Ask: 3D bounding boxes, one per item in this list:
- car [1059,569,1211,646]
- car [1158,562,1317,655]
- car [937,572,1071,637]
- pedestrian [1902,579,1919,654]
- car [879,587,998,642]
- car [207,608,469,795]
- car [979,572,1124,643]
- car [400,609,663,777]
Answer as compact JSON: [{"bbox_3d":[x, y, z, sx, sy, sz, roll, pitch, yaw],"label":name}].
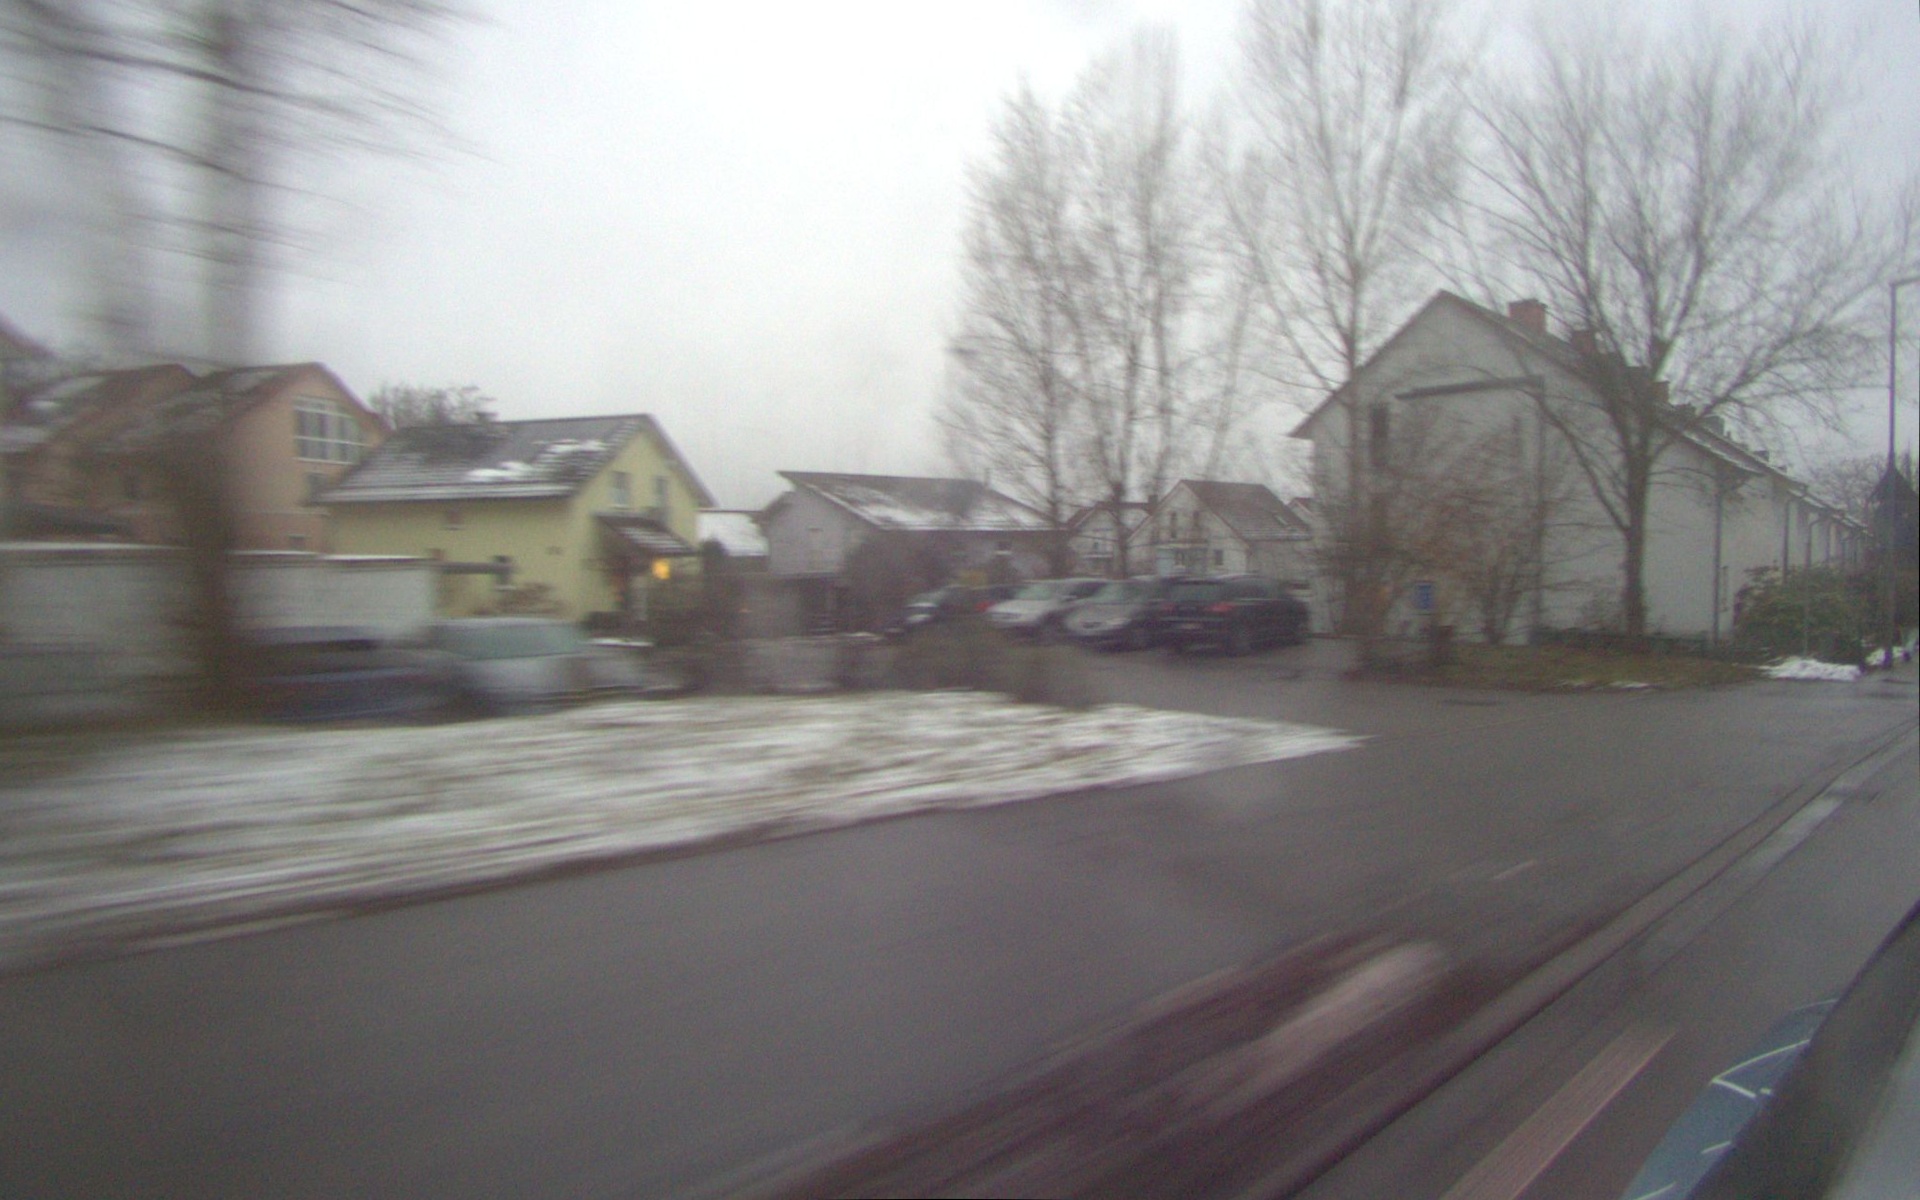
[{"bbox_3d":[4.182,0.111,23.916,3.678,1.490,1.640,-5,5,-42],"label":"car"},{"bbox_3d":[6.104,0.099,22.086,3.678,1.703,1.640,-5,5,-42],"label":"car"},{"bbox_3d":[1.295,0.070,28.567,3.678,1.490,1.640,-5,5,-42],"label":"car"},{"bbox_3d":[21.864,0.375,22.870,0.954,1.675,0.744,1,1,-43],"label":"pedestrian"},{"bbox_3d":[-0.591,0.371,29.516,3.344,1.293,1.471,-5,5,-42],"label":"car"},{"bbox_3d":[-7.191,0.975,11.543,1.774,1.617,3.785,1,1,-44],"label":"car"},{"bbox_3d":[2.398,0.121,25.909,3.678,1.490,1.640,-5,5,-42],"label":"car"},{"bbox_3d":[-5.441,0.997,12.623,1.774,1.617,3.785,1,1,-44],"label":"car"}]
